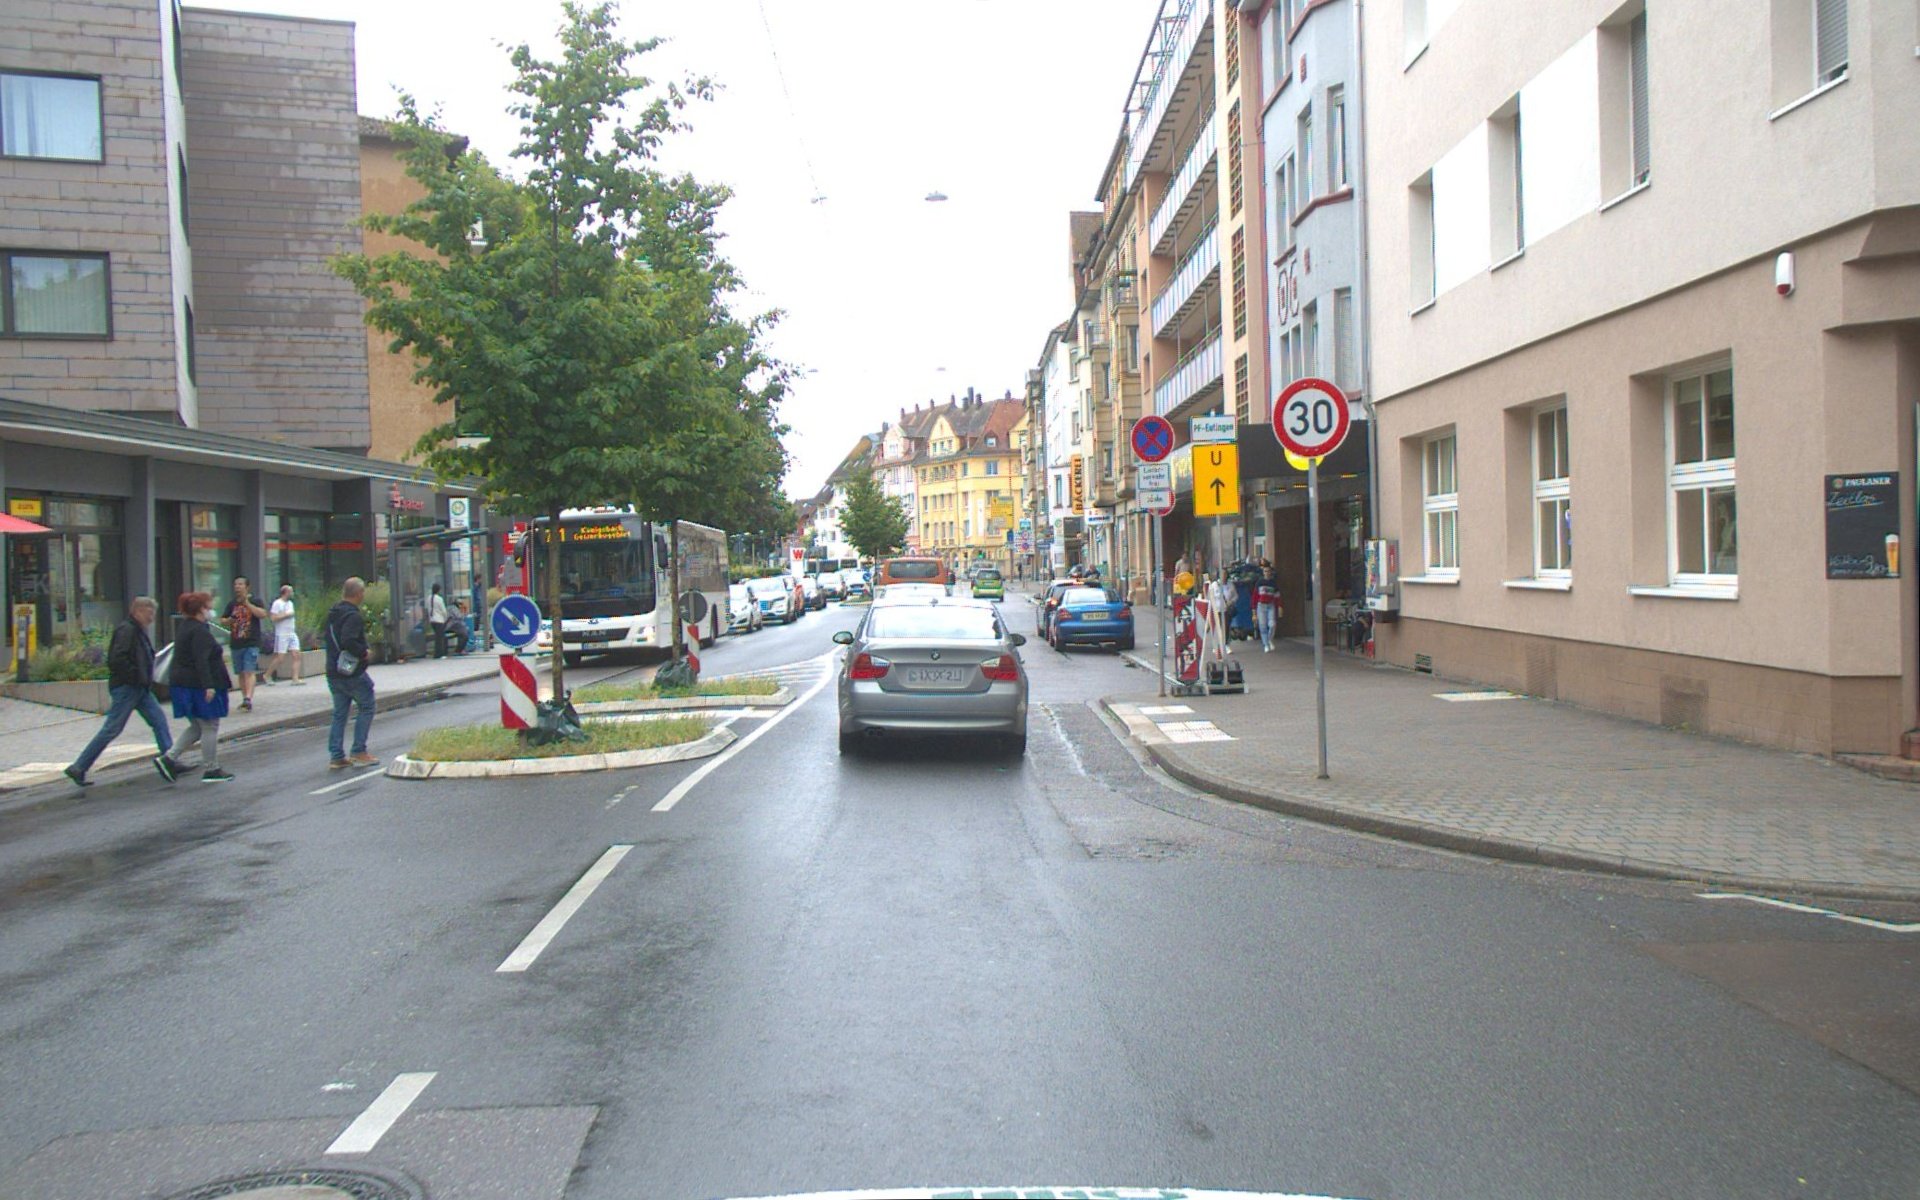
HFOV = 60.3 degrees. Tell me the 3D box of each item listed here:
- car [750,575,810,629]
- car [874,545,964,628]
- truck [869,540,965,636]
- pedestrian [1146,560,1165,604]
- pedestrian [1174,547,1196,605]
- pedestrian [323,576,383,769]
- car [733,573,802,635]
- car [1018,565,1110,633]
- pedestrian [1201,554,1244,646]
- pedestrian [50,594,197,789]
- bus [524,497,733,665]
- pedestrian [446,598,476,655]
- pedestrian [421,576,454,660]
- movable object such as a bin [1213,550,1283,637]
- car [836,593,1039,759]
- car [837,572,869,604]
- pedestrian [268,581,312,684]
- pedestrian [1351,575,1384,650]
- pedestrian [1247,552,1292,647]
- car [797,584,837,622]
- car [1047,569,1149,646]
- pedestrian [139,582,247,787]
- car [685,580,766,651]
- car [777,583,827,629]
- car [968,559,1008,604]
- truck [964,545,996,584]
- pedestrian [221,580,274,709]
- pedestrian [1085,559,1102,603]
[{"bbox_3d":[-7.135,0.126,65.923,1.953,2.049,3.999,1,-1,-1],"label":"car"},{"bbox_3d":[-0.797,-0.216,31.022,1.570,1.445,3.286,1,-1,-2],"label":"car"},{"bbox_3d":[-1.089,-0.257,40.953,2.171,2.154,4.650,2,-1,-2],"label":"truck"},{"bbox_3d":[6.573,-0.607,55.600,0.552,1.446,0.797,1,-1,13],"label":"pedestrian"},{"bbox_3d":[6.631,-0.698,48.732,0.602,1.690,0.755,1,-1,6],"label":"pedestrian"},{"bbox_3d":[-5.632,0.657,15.356,0.458,1.739,0.541,-2,0,-20],"label":"pedestrian"},{"bbox_3d":[-6.606,0.162,57.189,1.953,2.049,3.999,-1,-1,-1],"label":"car"},{"bbox_3d":[2.531,0.012,41.114,1.953,1.546,3.999,1,-1,-1],"label":"car"},{"bbox_3d":[4.878,0.006,30.762,0.733,1.690,0.837,1,-1,6],"label":"pedestrian"},{"bbox_3d":[-7.866,0.837,15.584,1.043,1.761,0.712,-1,0,-10],"label":"pedestrian"},{"bbox_3d":[-7.374,-0.369,38.648,2.627,3.256,11.953,-1,0,-1],"label":"bus"},{"bbox_3d":[-11.075,0.586,36.694,0.455,1.252,0.544,1,-1,1],"label":"pedestrian"},{"bbox_3d":[-11.007,0.379,34.830,0.532,1.739,0.465,1,-1,-7],"label":"pedestrian"},{"bbox_3d":[6.003,-0.129,34.555,1.100,1.732,1.433,-2,-1,-3],"label":"movable object such as a bin"},{"bbox_3d":[-0.191,0.635,15.588,1.720,1.386,3.165,0,1,0],"label":"car"},{"bbox_3d":[-7.239,-0.799,112.540,1.953,2.049,3.999,1,-1,-1],"label":"car"},{"bbox_3d":[-11.548,0.559,28.502,0.649,1.735,0.657,2,-1,-23],"label":"pedestrian"},{"bbox_3d":[6.853,0.213,27.821,0.404,1.223,0.357,-4,1,2],"label":"pedestrian"},{"bbox_3d":[5.643,0.000,30.208,0.734,1.690,0.755,1,-1,6],"label":"pedestrian"},{"bbox_3d":[-7.972,0.185,92.418,1.953,2.049,3.999,1,-1,-1],"label":"car"},{"bbox_3d":[2.923,0.187,35.811,1.772,1.546,3.999,1,-1,-1],"label":"car"},{"bbox_3d":[-6.833,0.733,14.768,0.729,1.738,0.676,-3,0,-21],"label":"pedestrian"},{"bbox_3d":[-7.161,0.490,50.923,1.953,2.049,3.999,-2,-1,-1],"label":"car"},{"bbox_3d":[-7.290,0.313,76.530,1.953,2.049,3.999,1,-1,-1],"label":"car"},{"bbox_3d":[1.334,-0.862,80.477,1.671,2.049,3.998,1,-1,-2],"label":"car"},{"bbox_3d":[1.426,-2.582,121.776,2.172,2.589,4.778,1,-1,-1],"label":"truck"},{"bbox_3d":[-10.172,0.634,23.620,0.533,1.821,0.465,1,-1,-9],"label":"pedestrian"},{"bbox_3d":[4.513,-0.640,55.904,0.511,1.446,0.430,1,-1,9],"label":"pedestrian"}]
